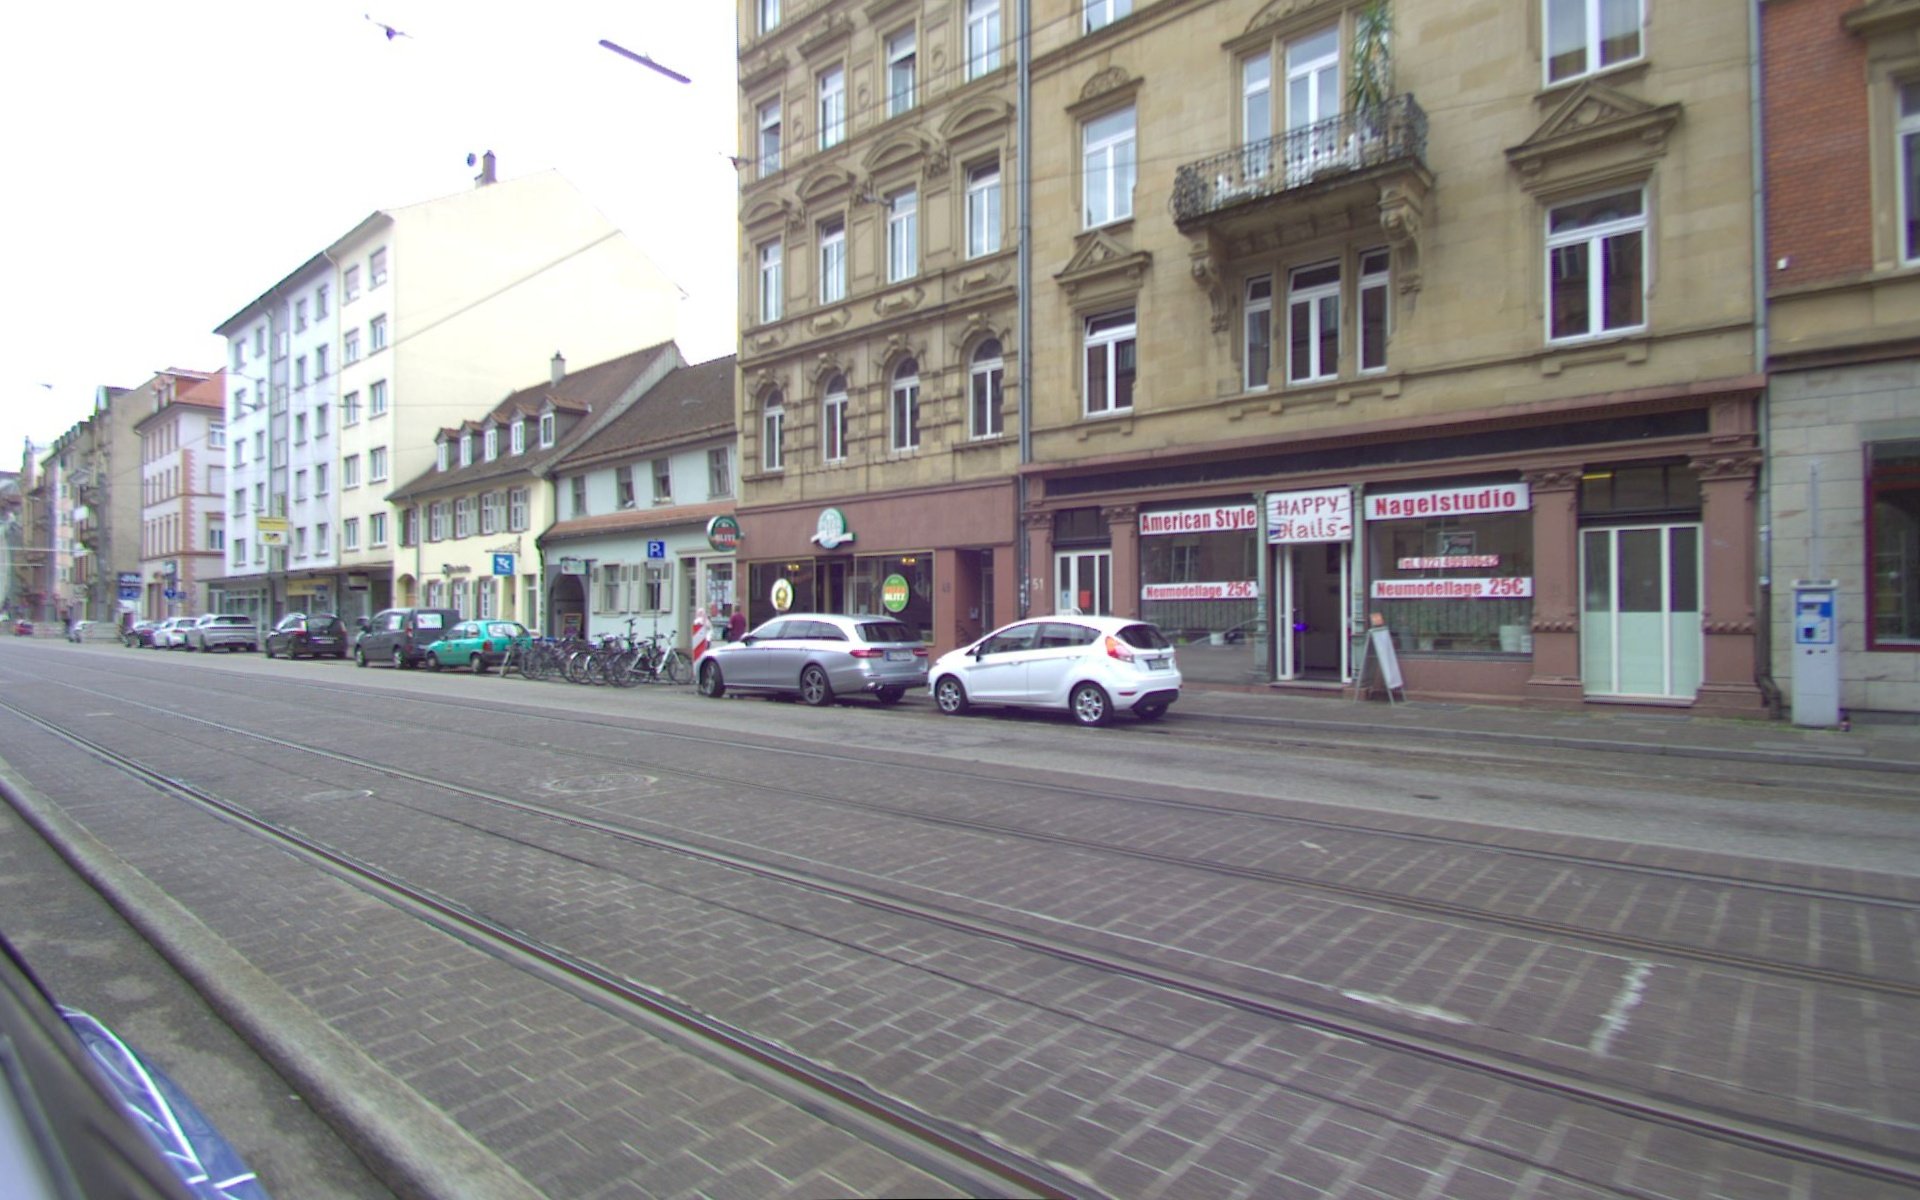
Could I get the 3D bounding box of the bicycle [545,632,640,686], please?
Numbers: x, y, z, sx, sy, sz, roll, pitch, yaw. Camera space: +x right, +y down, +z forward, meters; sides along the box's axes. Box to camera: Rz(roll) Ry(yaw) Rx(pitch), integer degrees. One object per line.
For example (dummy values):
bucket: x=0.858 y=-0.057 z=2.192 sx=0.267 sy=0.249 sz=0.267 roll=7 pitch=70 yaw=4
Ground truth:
bicycle: x=-8.388 y=1.328 z=23.188 sx=0.557 sy=1.106 sz=2.017 roll=-1 pitch=0 yaw=42

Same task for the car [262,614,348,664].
car: x=-24.202 y=1.385 z=37.331 sx=4.181 sy=1.684 sz=1.682 roll=-1 pitch=0 yaw=43

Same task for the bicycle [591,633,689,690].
bicycle: x=-6.879 y=1.309 z=21.864 sx=0.557 sy=1.106 sz=2.017 roll=-1 pitch=0 yaw=42

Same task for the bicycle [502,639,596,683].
bicycle: x=-9.967 y=1.455 z=24.621 sx=0.556 sy=0.940 sz=2.100 roll=-1 pitch=0 yaw=39

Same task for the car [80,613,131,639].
car: x=-53.151 y=1.609 z=62.945 sx=3.999 sy=1.574 sz=1.843 roll=-1 pitch=-3 yaw=42

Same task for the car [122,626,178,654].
car: x=-42.392 y=2.073 z=52.953 sx=3.245 sy=1.353 sz=1.710 roll=-1 pitch=0 yaw=41

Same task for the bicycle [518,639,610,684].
bicycle: x=-9.433 y=1.448 z=24.172 sx=0.557 sy=0.940 sz=2.017 roll=-1 pitch=0 yaw=43

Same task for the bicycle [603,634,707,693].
bicycle: x=-6.394 y=1.304 z=21.306 sx=0.557 sy=1.106 sz=2.111 roll=-1 pitch=0 yaw=42

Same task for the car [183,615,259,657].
car: x=-32.566 y=1.538 z=44.585 sx=3.825 sy=1.745 sz=1.904 roll=-1 pitch=0 yaw=41

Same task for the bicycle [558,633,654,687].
bicycle: x=-7.942 y=1.323 z=22.770 sx=0.557 sy=1.106 sz=2.017 roll=-1 pitch=0 yaw=42

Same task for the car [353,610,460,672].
car: x=-16.814 y=1.207 z=30.669 sx=3.920 sy=1.770 sz=1.684 roll=-1 pitch=-2 yaw=43

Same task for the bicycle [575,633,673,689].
bicycle: x=-7.373 y=1.316 z=22.288 sx=0.557 sy=1.106 sz=2.017 roll=-1 pitch=0 yaw=42

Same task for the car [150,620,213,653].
car: x=-37.690 y=1.721 z=48.990 sx=3.825 sy=1.462 sz=1.710 roll=-1 pitch=0 yaw=41

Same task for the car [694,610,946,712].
car: x=-2.516 y=0.992 z=17.433 sx=4.543 sy=1.533 sz=1.805 roll=-2 pitch=-3 yaw=42

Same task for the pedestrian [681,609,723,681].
pedestrian: x=-6.008 y=1.033 z=23.570 sx=0.727 sy=1.629 sz=0.648 roll=-1 pitch=0 yaw=41

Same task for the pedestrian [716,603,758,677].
pedestrian: x=-5.283 y=0.934 z=23.961 sx=0.753 sy=1.725 sz=0.648 roll=-1 pitch=0 yaw=41

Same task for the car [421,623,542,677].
car: x=-13.070 y=1.345 z=27.581 sx=3.432 sy=1.391 sz=1.631 roll=-2 pitch=-3 yaw=38

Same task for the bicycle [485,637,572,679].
bicycle: x=-10.982 y=1.467 z=25.800 sx=0.556 sy=0.940 sz=2.019 roll=-1 pitch=0 yaw=39

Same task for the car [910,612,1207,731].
car: x=1.320 y=0.949 z=14.594 sx=4.044 sy=1.476 sz=1.725 roll=-1 pitch=-2 yaw=41
